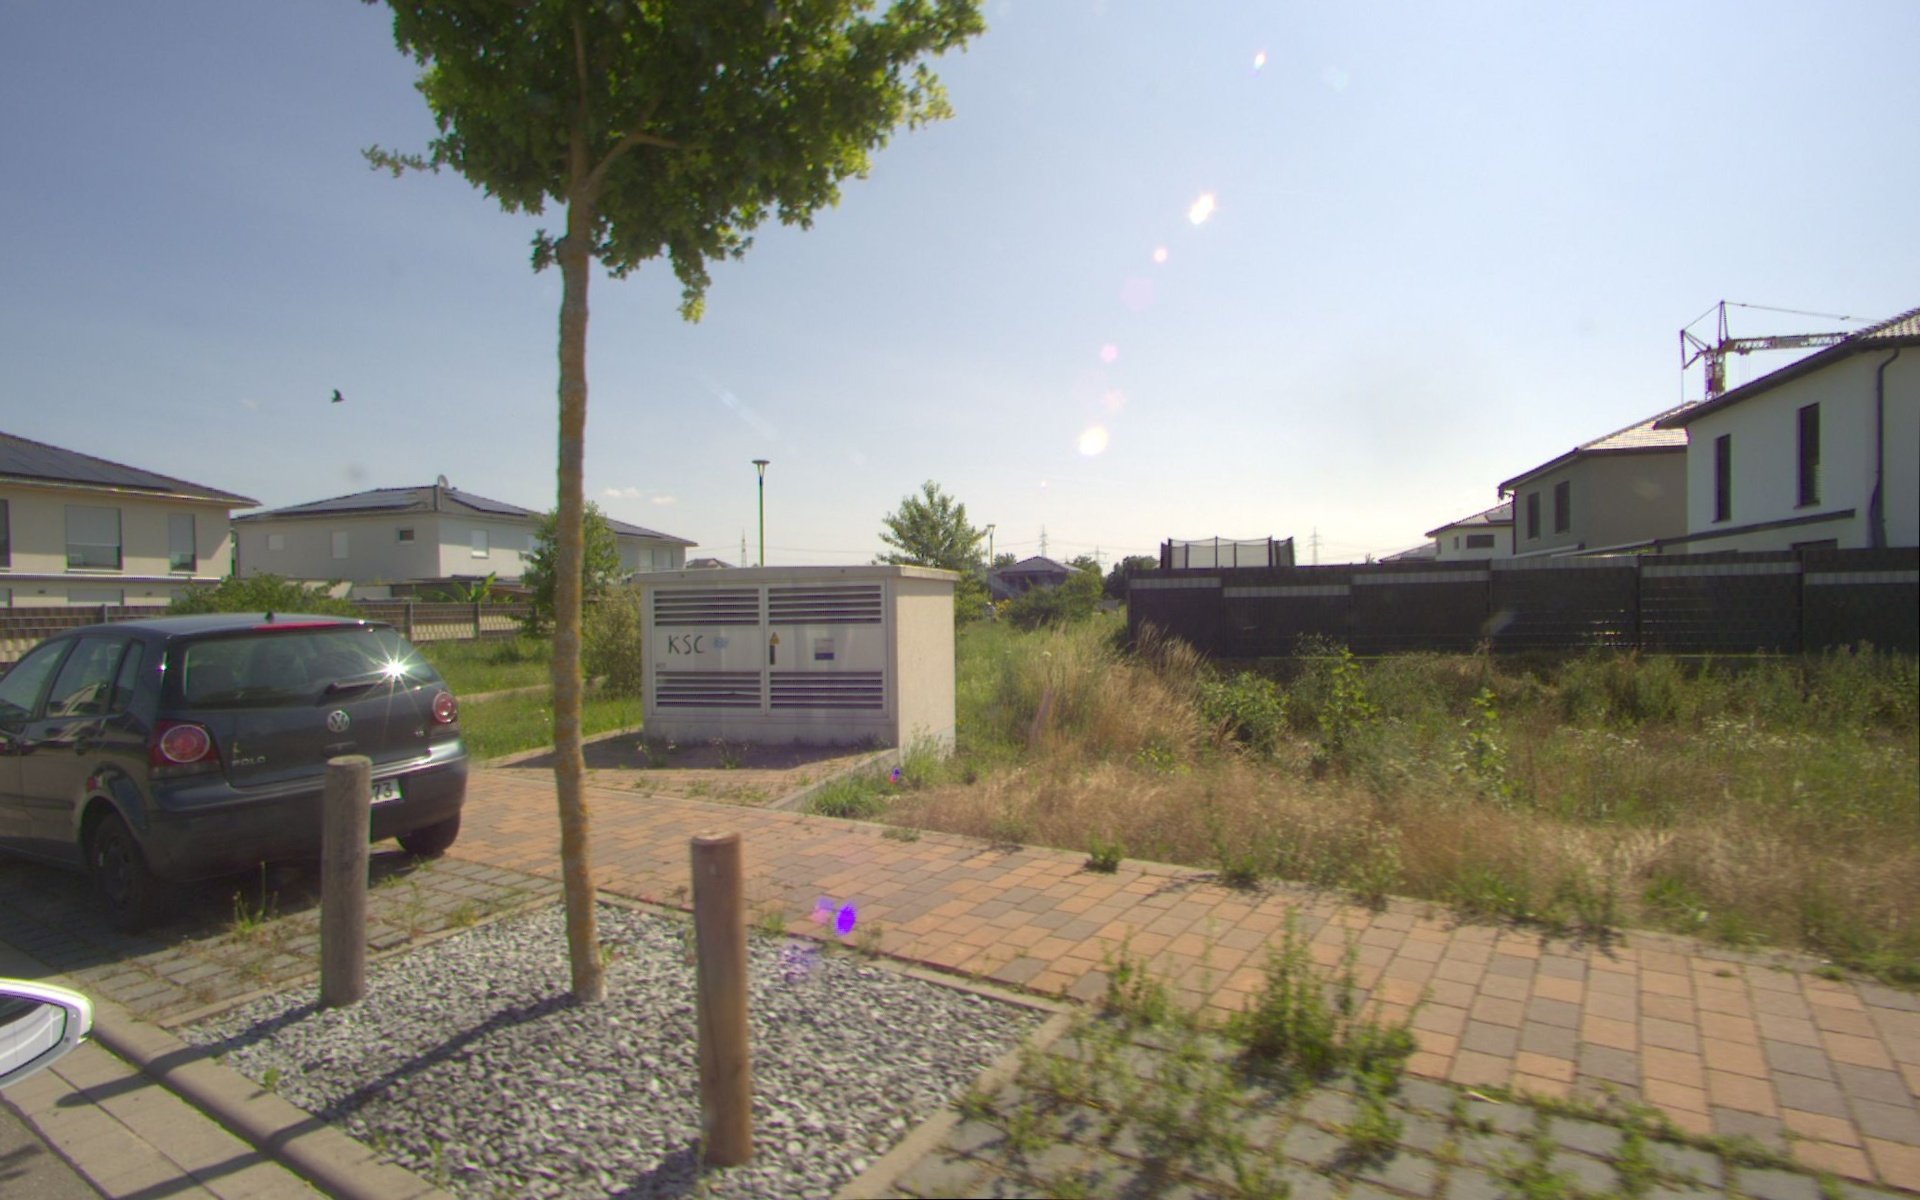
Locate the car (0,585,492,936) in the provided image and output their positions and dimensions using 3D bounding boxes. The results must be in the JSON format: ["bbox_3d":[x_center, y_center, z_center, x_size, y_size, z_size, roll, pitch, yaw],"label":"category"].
[{"bbox_3d":[-4.578,0.730,5.930,3.622,1.494,1.595,-1,-1,32],"label":"car"}]
